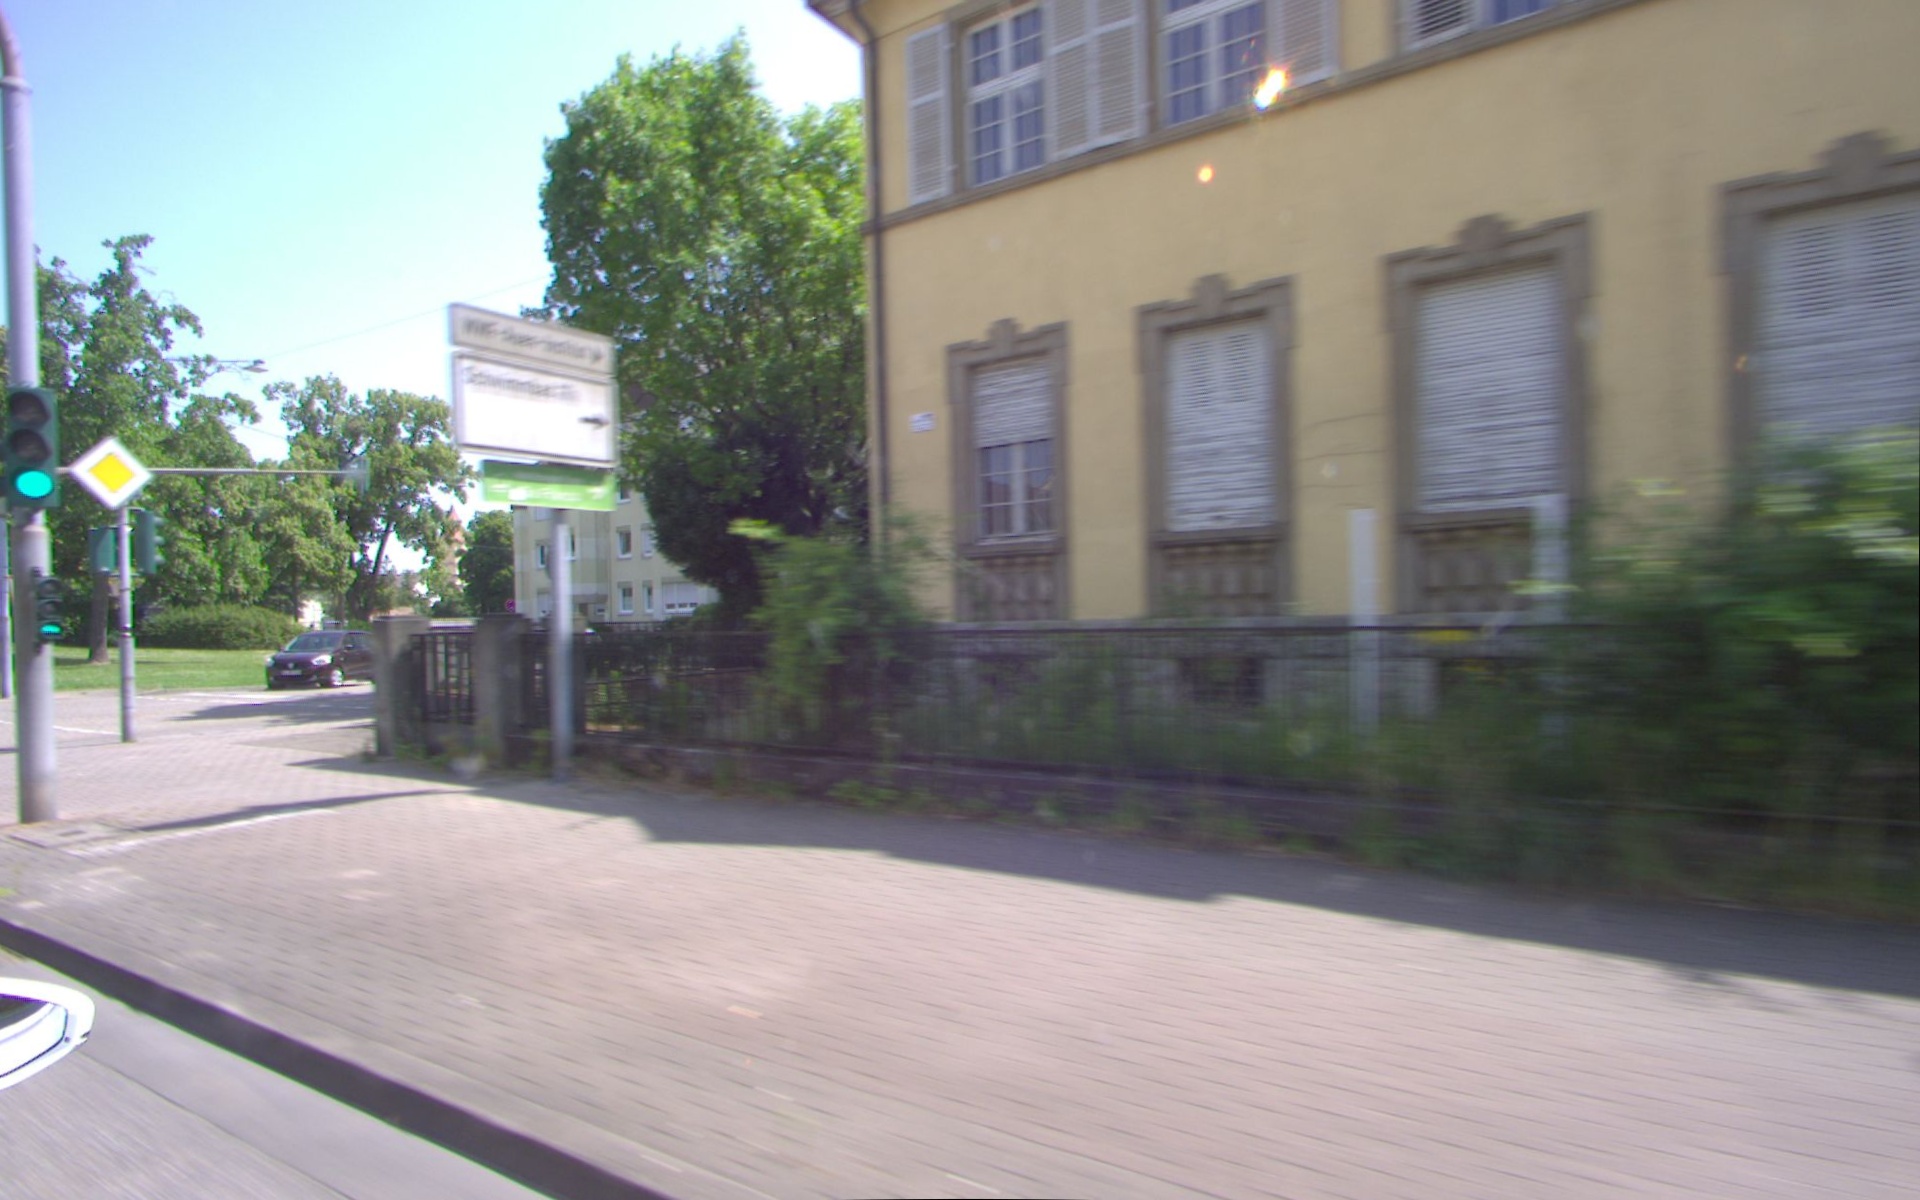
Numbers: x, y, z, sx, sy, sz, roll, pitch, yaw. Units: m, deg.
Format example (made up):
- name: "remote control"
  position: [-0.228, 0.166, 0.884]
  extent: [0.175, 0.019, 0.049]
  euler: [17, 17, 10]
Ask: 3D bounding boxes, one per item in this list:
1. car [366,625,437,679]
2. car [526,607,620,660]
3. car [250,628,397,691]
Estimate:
- name: "car"
  position: [-19.754, 1.815, 35.563]
  extent: [1.969, 1.723, 4.750]
  euler: [-1, -1, -27]
- name: "car"
  position: [-13.543, 1.200, 34.879]
  extent: [1.874, 1.519, 4.501]
  euler: [-8, 1, -36]
- name: "car"
  position: [-18.621, 1.707, 29.596]
  extent: [1.881, 1.653, 4.818]
  euler: [-1, -2, -9]
